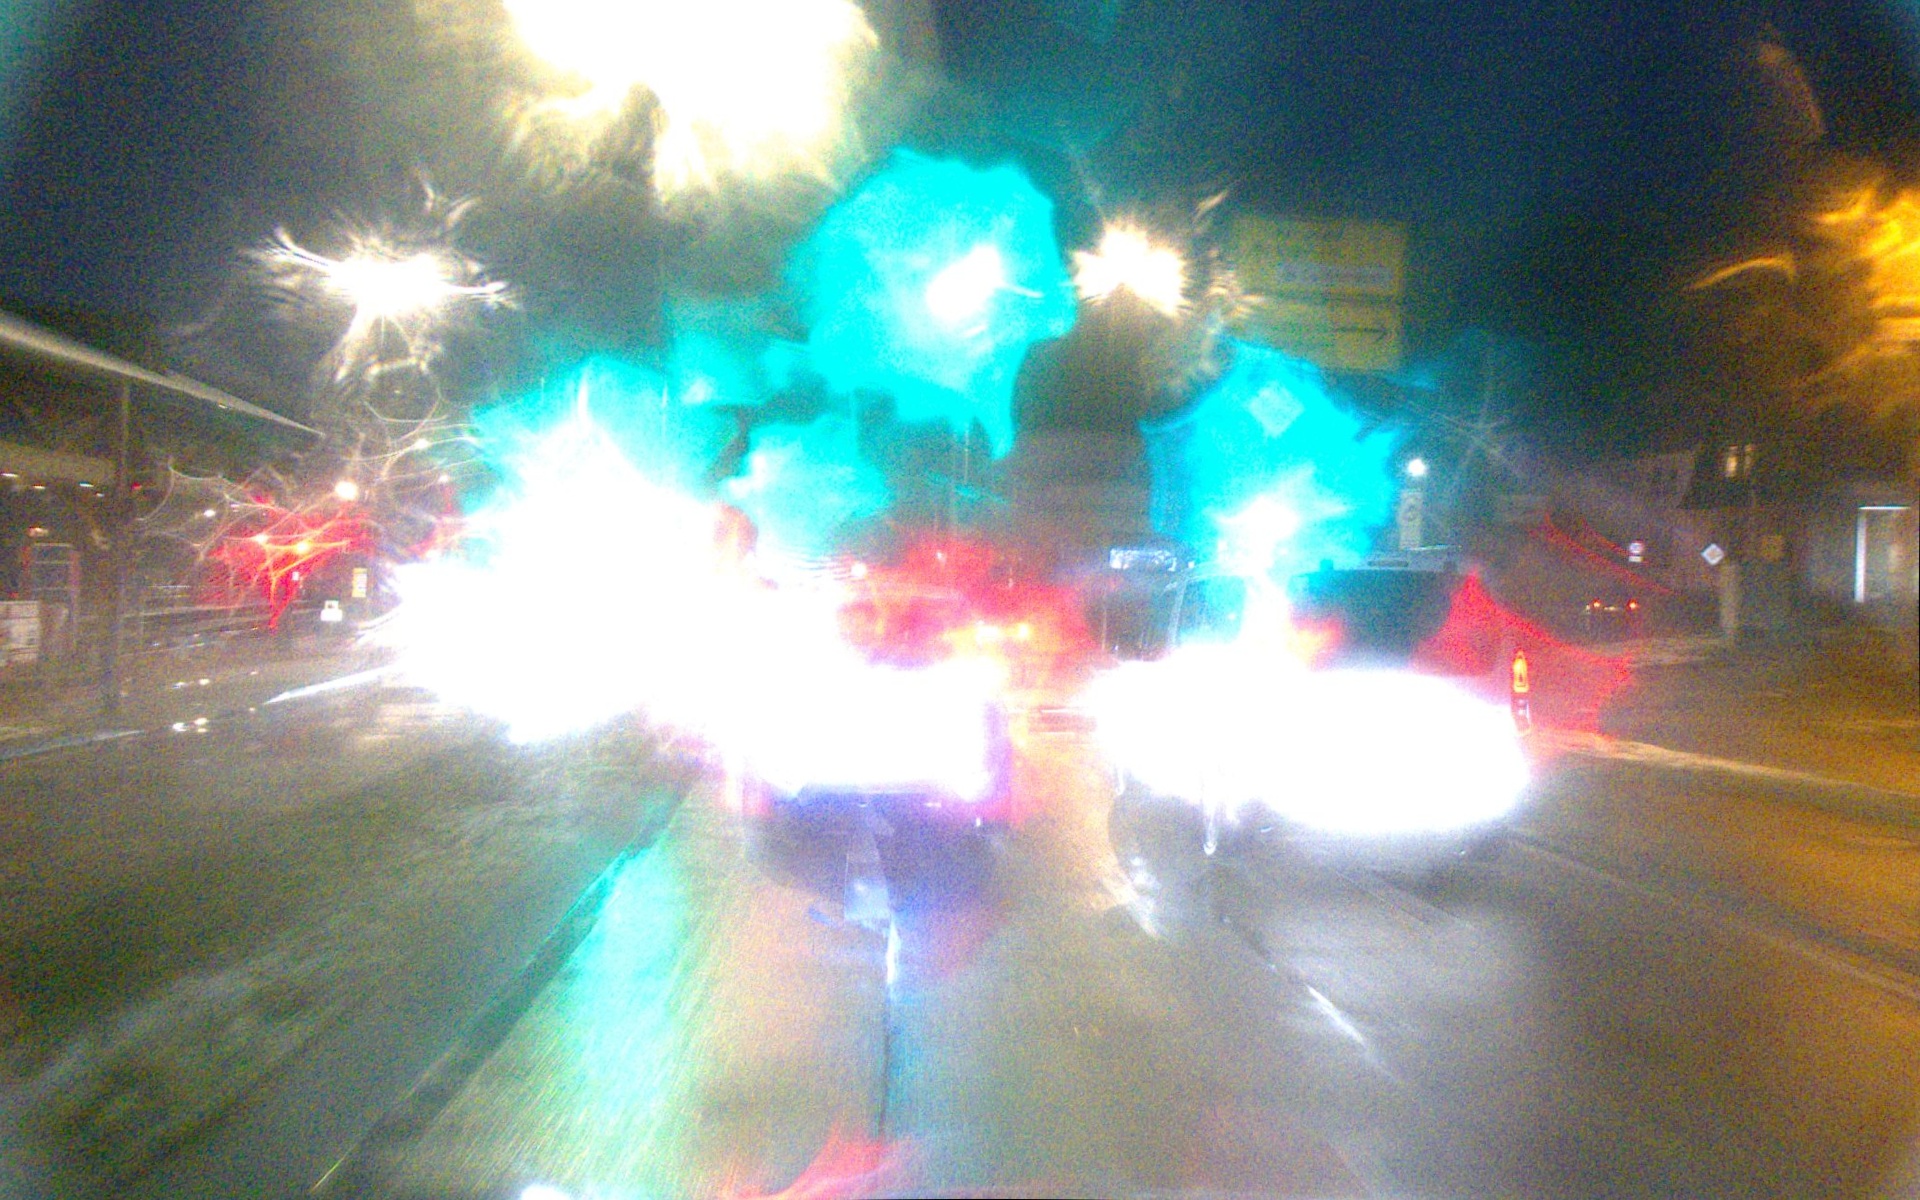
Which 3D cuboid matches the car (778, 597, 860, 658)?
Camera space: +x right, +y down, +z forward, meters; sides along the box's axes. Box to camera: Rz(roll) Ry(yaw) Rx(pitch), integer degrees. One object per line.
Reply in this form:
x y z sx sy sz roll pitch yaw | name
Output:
-4.339 0.812 50.297 1.959 1.748 3.987 1 0 -12 | car

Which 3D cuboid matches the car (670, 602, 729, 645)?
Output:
-10.936 0.970 69.261 1.961 1.699 3.983 1 0 -16 | car

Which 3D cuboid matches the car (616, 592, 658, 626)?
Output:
-18.030 0.486 92.245 1.961 1.852 3.984 1 0 -15 | car

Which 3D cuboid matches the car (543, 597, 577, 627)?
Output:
-25.681 0.732 106.051 1.961 1.856 3.983 1 0 -16 | car

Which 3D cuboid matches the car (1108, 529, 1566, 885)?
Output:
2.252 0.593 11.136 1.815 1.897 4.337 1 0 -4 | car

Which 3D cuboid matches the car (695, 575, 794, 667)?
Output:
-5.193 0.484 39.409 1.959 2.049 3.987 1 0 -13 | car

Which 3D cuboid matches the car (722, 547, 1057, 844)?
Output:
-0.545 0.587 12.163 1.974 1.747 4.448 1 0 -3 | car

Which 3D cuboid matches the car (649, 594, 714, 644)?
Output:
-10.357 0.670 61.340 1.961 1.763 3.983 1 0 -15 | car

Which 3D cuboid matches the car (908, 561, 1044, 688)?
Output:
0.211 0.414 29.455 1.931 2.082 3.995 1 0 -6 | car

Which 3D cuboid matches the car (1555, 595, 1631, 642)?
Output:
23.833 0.694 62.390 1.734 1.698 4.073 1 0 8 | car

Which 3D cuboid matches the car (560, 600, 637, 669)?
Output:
-11.131 1.007 50.731 1.982 1.920 4.433 2 0 -16 | car
